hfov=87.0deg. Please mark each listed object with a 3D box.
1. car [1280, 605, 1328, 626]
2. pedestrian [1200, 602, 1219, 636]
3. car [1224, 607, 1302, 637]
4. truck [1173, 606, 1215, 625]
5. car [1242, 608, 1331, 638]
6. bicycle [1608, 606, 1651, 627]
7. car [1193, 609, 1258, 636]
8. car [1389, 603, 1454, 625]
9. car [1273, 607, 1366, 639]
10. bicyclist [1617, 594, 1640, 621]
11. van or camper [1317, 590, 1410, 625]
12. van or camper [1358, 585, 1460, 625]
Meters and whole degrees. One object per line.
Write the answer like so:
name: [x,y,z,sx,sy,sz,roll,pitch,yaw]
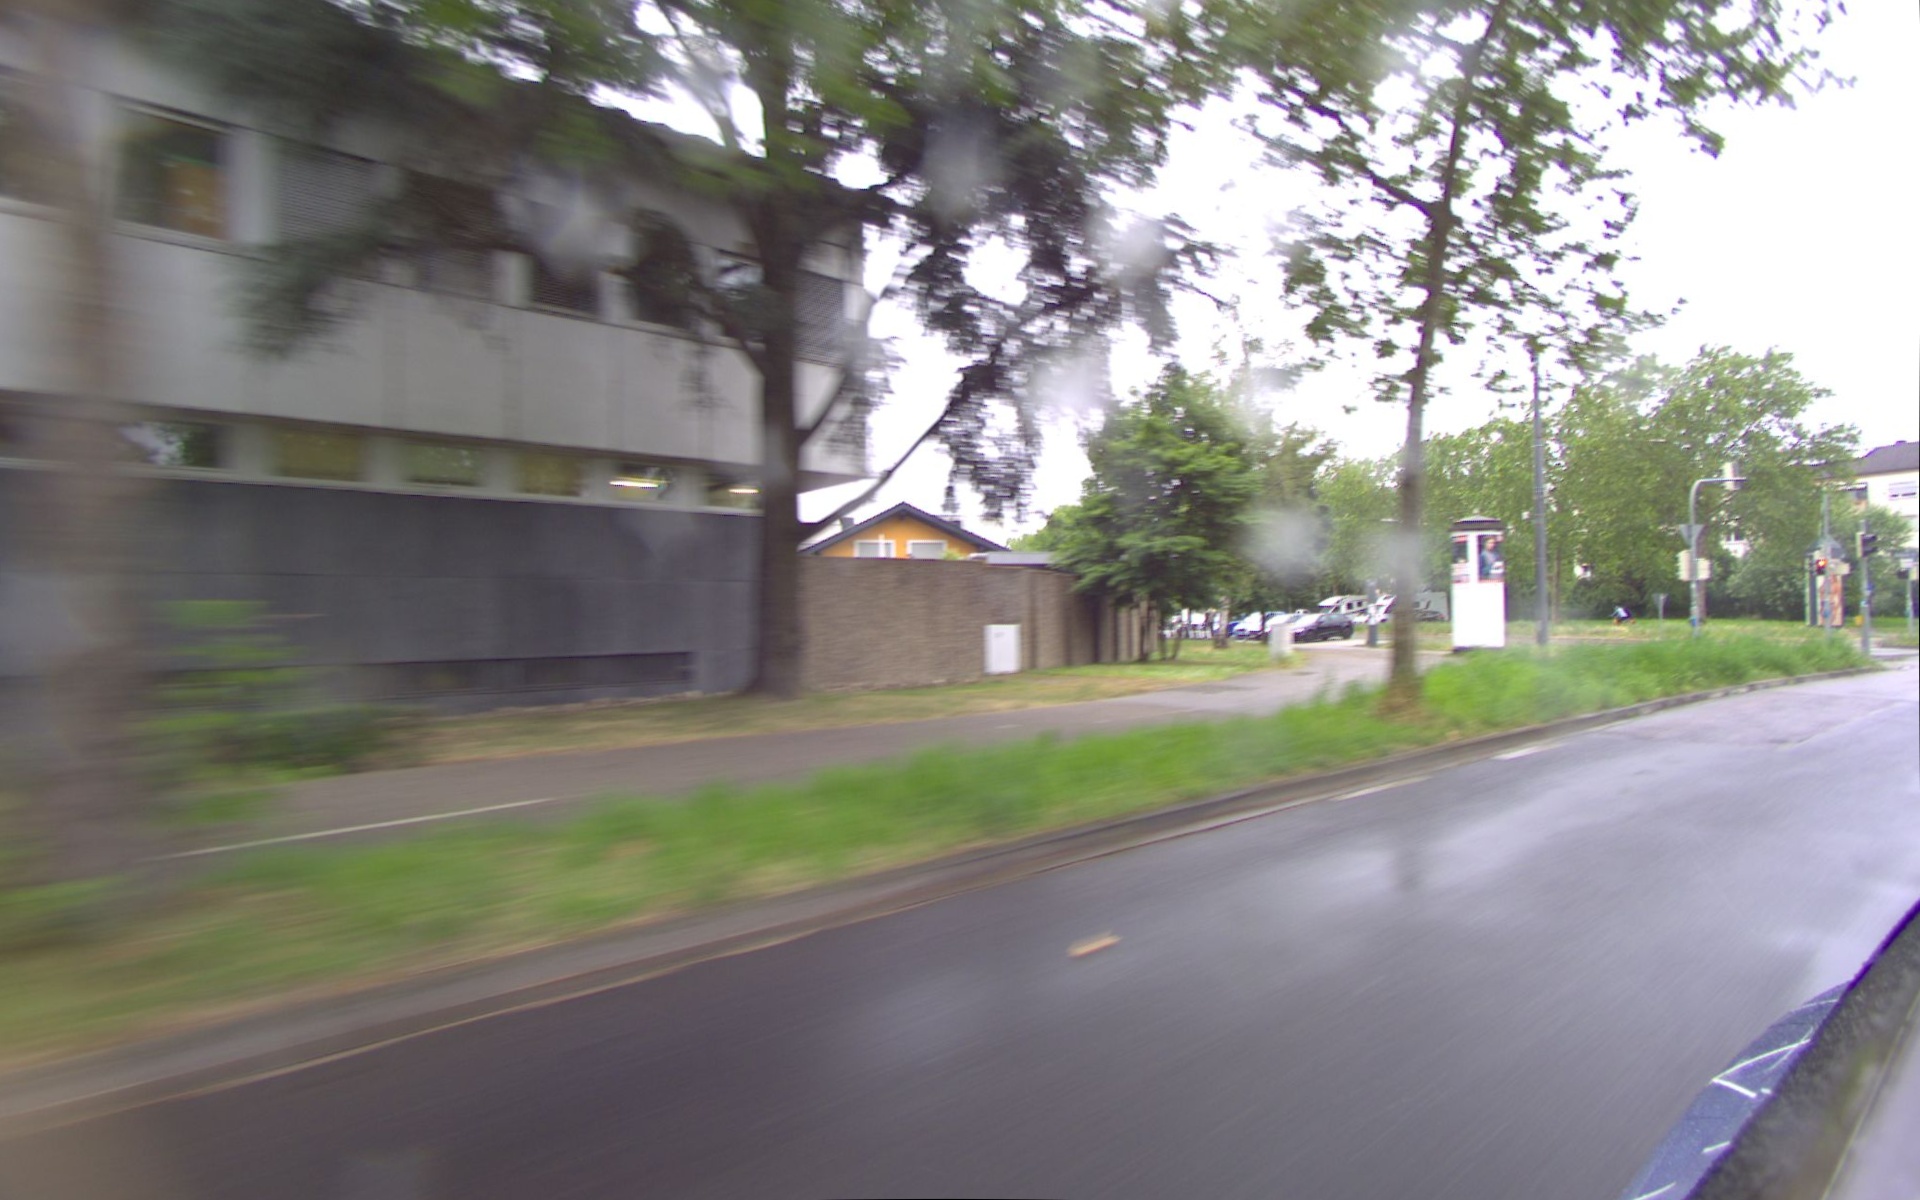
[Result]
car: [34.687,1.594,102.153,4.106,2.040,2.186,0,-2,-1]
pedestrian: [13.554,1.032,54.948,0.712,1.821,0.887,1,-2,-6]
car: [17.189,1.230,57.459,3.916,1.602,1.862,0,-1,-22]
truck: [29.429,1.989,127.339,4.642,2.368,2.432,1,-2,-6]
car: [17.458,1.219,54.079,4.419,1.436,1.861,-2,-1,-25]
bicycle: [38.264,0.954,57.857,0.679,1.131,1.886,1,-2,-29]
car: [16.540,1.405,63.016,3.926,1.602,1.928,0,-1,-38]
car: [37.425,1.178,82.171,4.369,1.739,2.001,0,-2,-5]
car: [18.440,1.170,51.866,4.400,1.436,1.861,-2,-1,-25]
bicyclist: [38.259,0.422,57.881,0.679,1.525,0.845,1,-3,-29]
van or camper: [37.739,0.719,94.861,7.302,3.220,3.264,0,-2,-4]
van or camper: [38.036,0.479,85.861,7.195,3.220,3.266,1,-2,-8]
